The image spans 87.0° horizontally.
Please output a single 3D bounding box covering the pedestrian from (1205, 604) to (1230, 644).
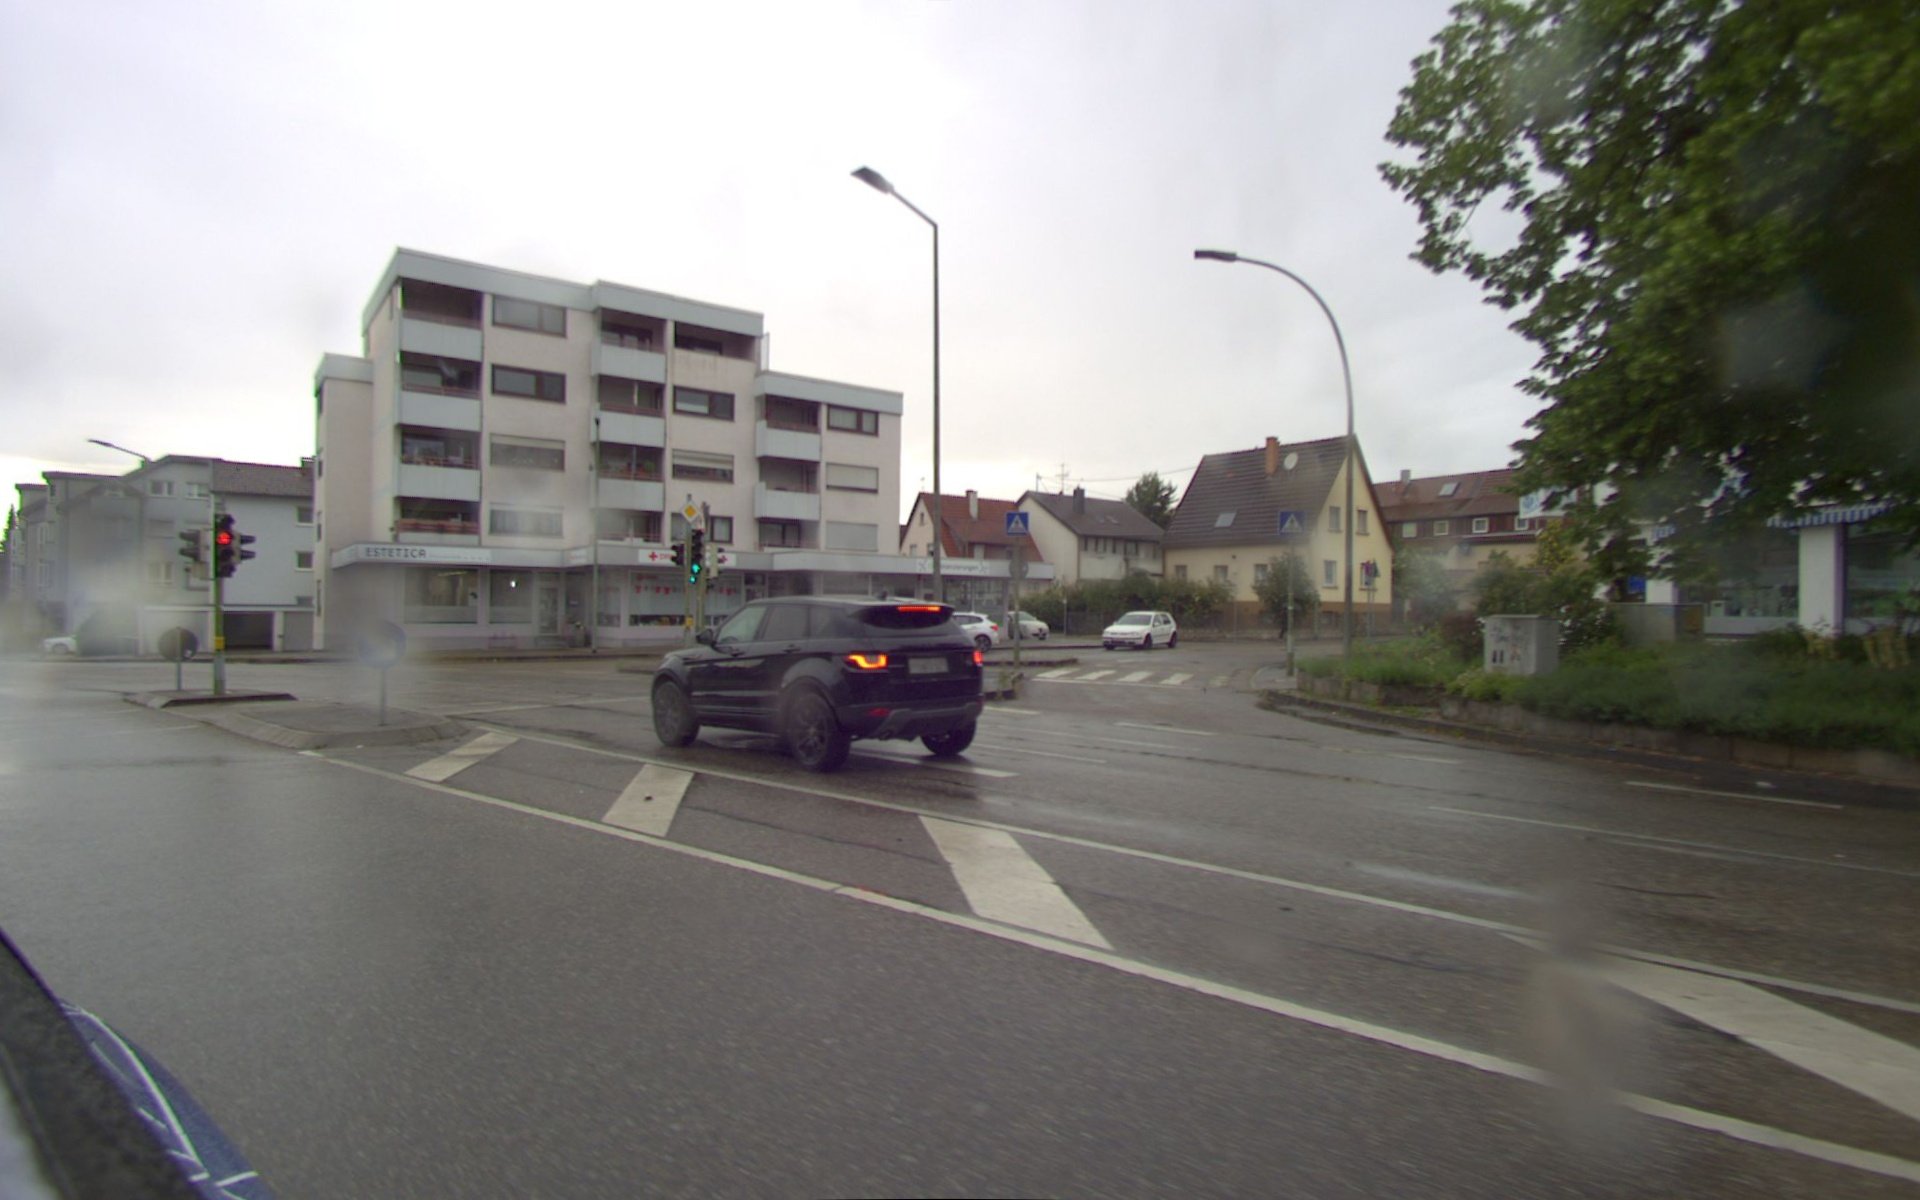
[{"bbox_3d":[12.217,1.144,48.044,0.713,1.872,0.851,0,-1,-37],"label":"pedestrian"}]

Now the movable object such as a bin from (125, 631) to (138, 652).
[{"bbox_3d":[-39.854,1.991,48.680,0.492,0.968,0.602,0,-2,-38],"label":"movable object such as a bin"}]

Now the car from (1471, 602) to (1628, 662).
[{"bbox_3d":[16.597,0.871,28.746,1.971,1.537,4.001,-1,-1,-2],"label":"car"}]

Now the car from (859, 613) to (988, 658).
[{"bbox_3d":[-1.321,1.236,35.627,4.216,1.445,1.840,-1,-1,-14],"label":"car"}]

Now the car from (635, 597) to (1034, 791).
[{"bbox_3d":[-1.460,0.808,10.336,1.782,1.569,4.321,0,-1,-44],"label":"car"}]

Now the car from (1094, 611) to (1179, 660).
[{"bbox_3d":[6.789,1.327,38.734,1.829,1.746,3.875,-2,-1,33],"label":"car"}]

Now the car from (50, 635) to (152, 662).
[{"bbox_3d":[-51.347,2.863,60.550,4.558,1.508,1.930,1,-2,-45],"label":"car"}]

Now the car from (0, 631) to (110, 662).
[{"bbox_3d":[-56.028,2.841,62.324,5.388,1.697,2.153,0,-2,-34],"label":"car"}]
